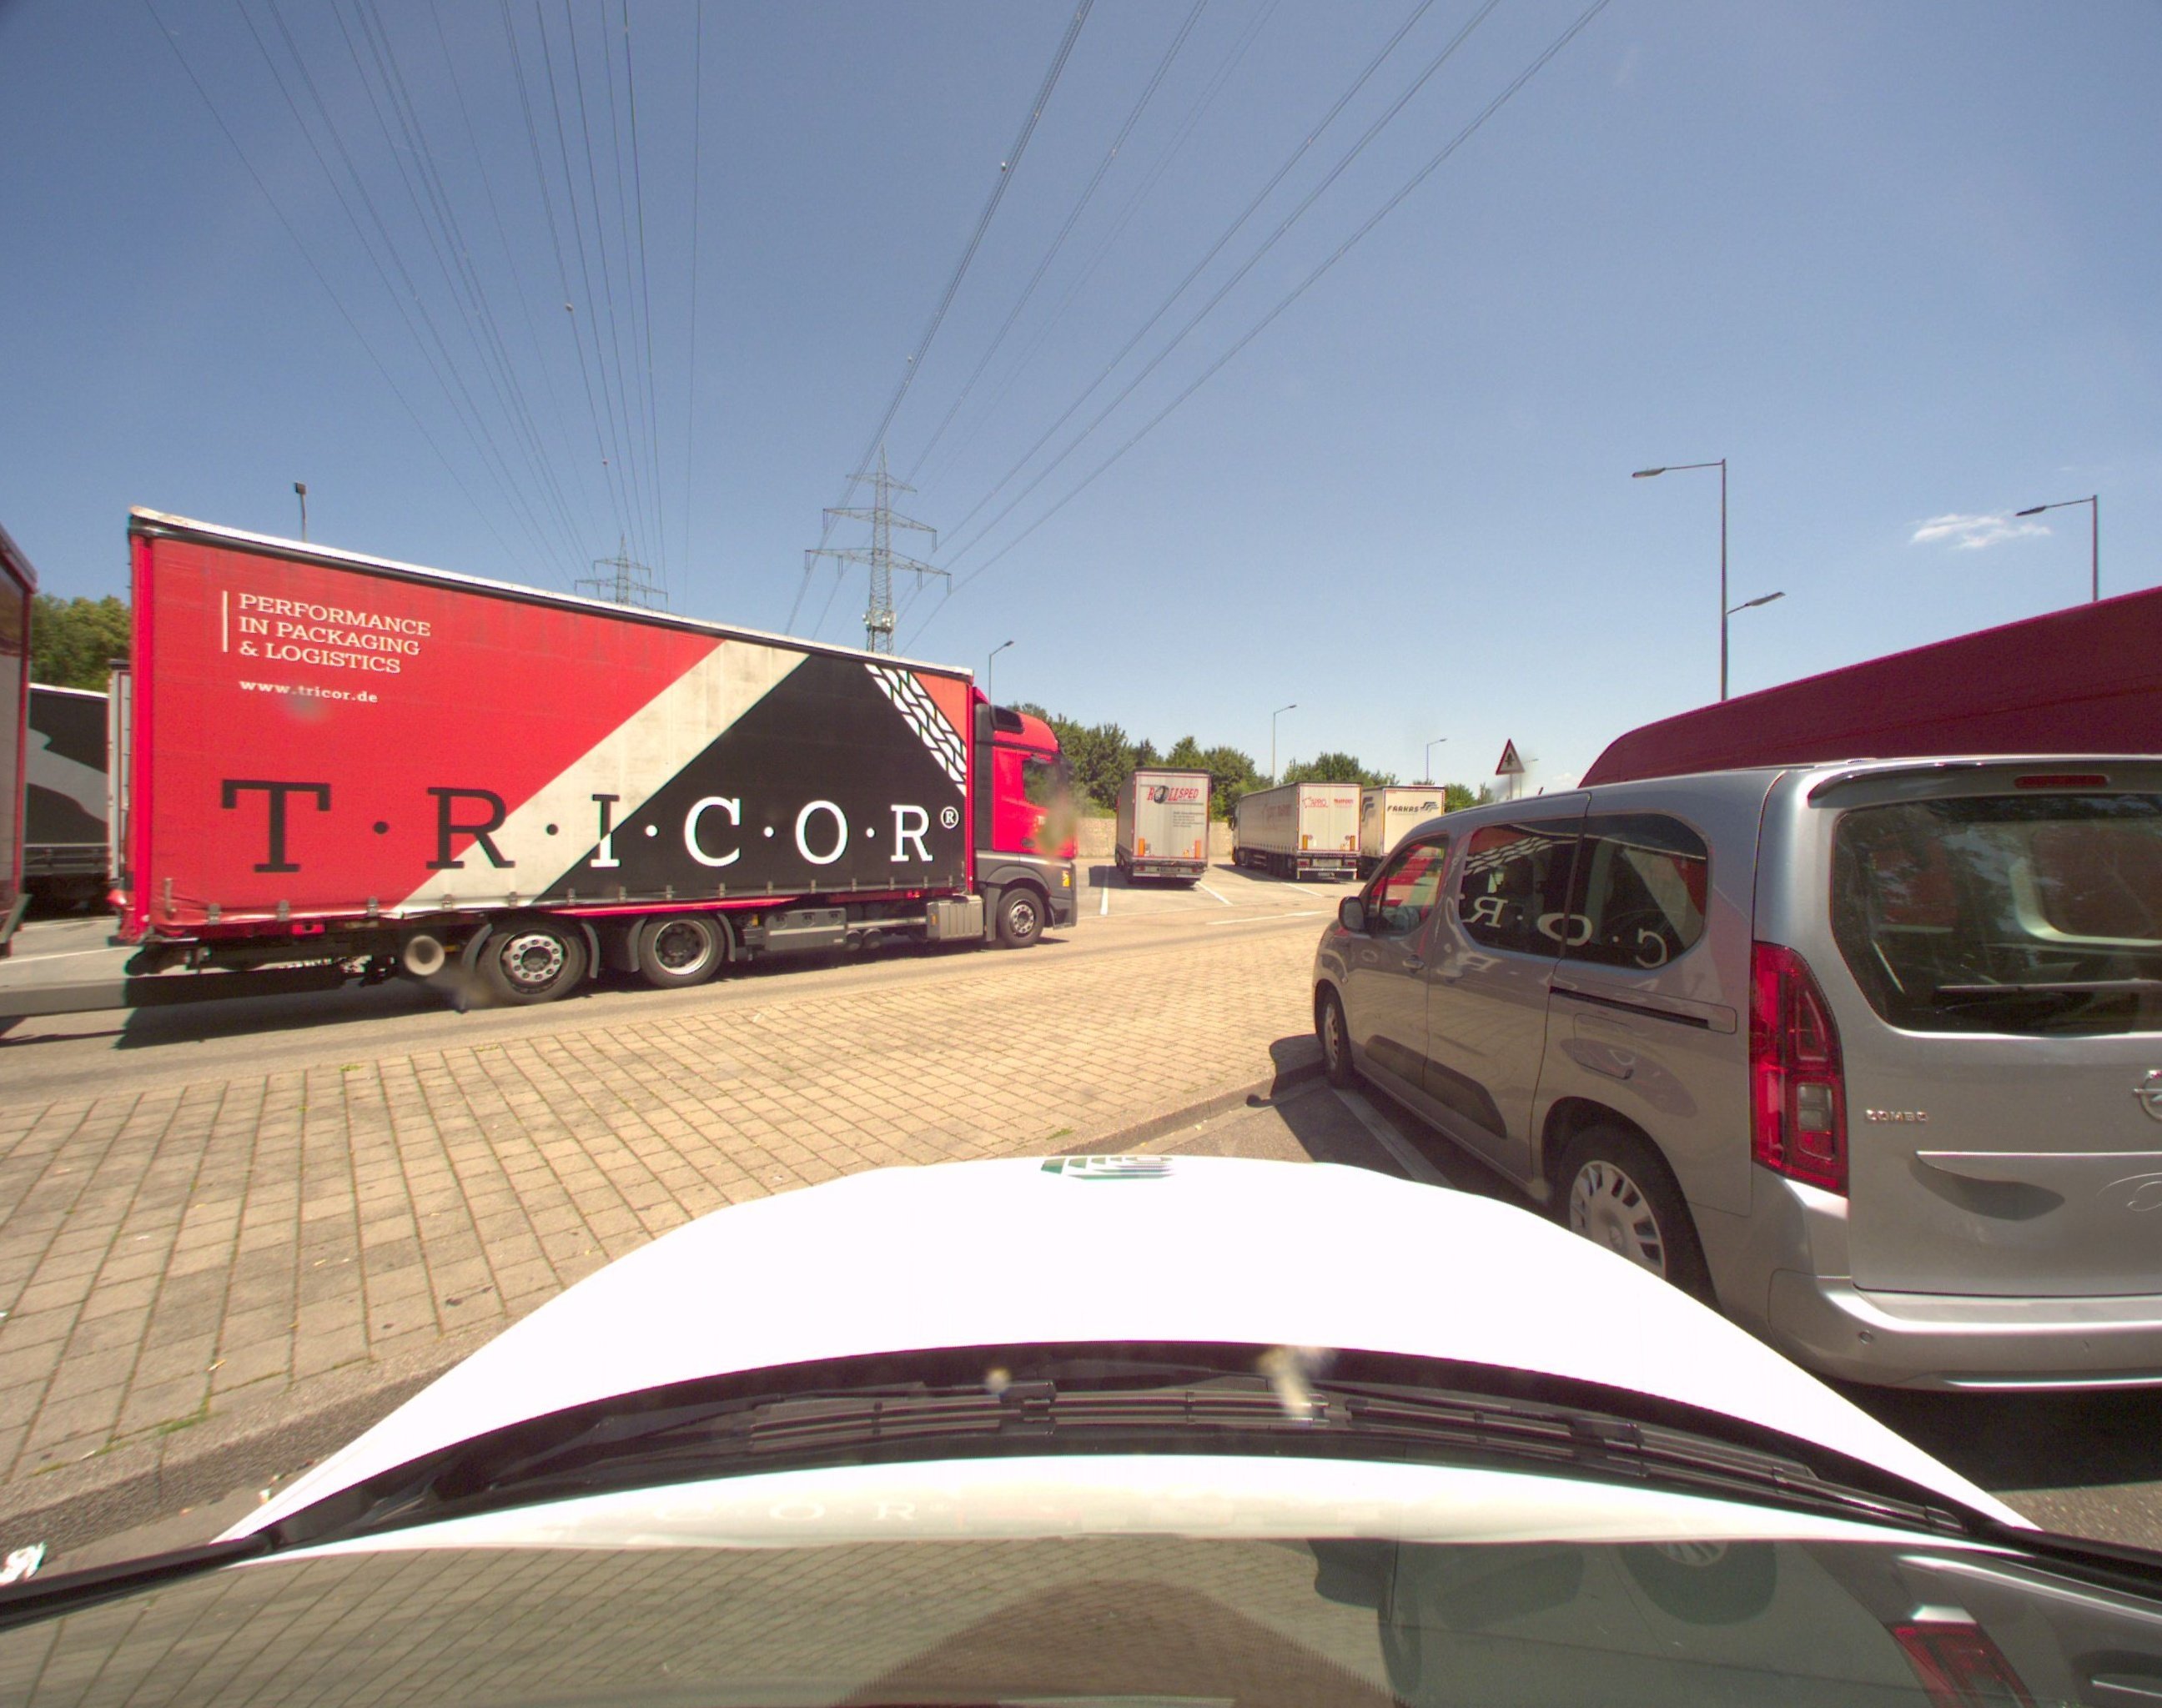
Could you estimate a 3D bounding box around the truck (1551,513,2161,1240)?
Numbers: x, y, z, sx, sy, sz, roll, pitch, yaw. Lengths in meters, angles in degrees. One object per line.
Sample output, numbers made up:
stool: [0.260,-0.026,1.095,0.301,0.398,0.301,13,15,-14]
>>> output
truck: [5.104,0.044,4.883,1.983,2.623,5.312,-1,1,6]

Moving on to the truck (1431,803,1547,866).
truck: [24.464,-1.137,49.447,3.013,3.437,8.534,-1,1,2]

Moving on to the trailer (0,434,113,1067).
trailer: [-11.127,-0.629,3.496,2.808,4.257,8.737,0,1,44]

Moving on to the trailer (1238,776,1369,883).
trailer: [9.943,-1.072,38.420,2.865,4.124,13.577,0,1,2]

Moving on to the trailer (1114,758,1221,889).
trailer: [3.048,-1.192,32.749,3.059,4.227,12.811,1,2,1]

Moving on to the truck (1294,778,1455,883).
truck: [13.577,-1.064,39.664,2.894,4.124,14.533,2,1,2]

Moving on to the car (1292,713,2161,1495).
car: [2.474,0.524,3.861,1.821,1.753,3.998,-1,1,-2]

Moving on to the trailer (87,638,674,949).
trailer: [-12.096,-0.898,16.081,2.734,4.263,9.740,-1,1,3]

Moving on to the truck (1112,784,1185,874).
truck: [3.130,-1.225,39.521,3.016,3.928,6.848,1,2,1]

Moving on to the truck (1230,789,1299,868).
truck: [10.130,-1.399,45.423,2.747,4.124,5.286,-1,1,2]

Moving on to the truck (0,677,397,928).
truck: [-18.508,-0.857,15.975,2.627,4.018,8.640,-1,1,2]

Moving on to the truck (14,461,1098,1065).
truck: [-4.441,-0.711,10.301,2.660,4.127,10.667,0,1,45]
